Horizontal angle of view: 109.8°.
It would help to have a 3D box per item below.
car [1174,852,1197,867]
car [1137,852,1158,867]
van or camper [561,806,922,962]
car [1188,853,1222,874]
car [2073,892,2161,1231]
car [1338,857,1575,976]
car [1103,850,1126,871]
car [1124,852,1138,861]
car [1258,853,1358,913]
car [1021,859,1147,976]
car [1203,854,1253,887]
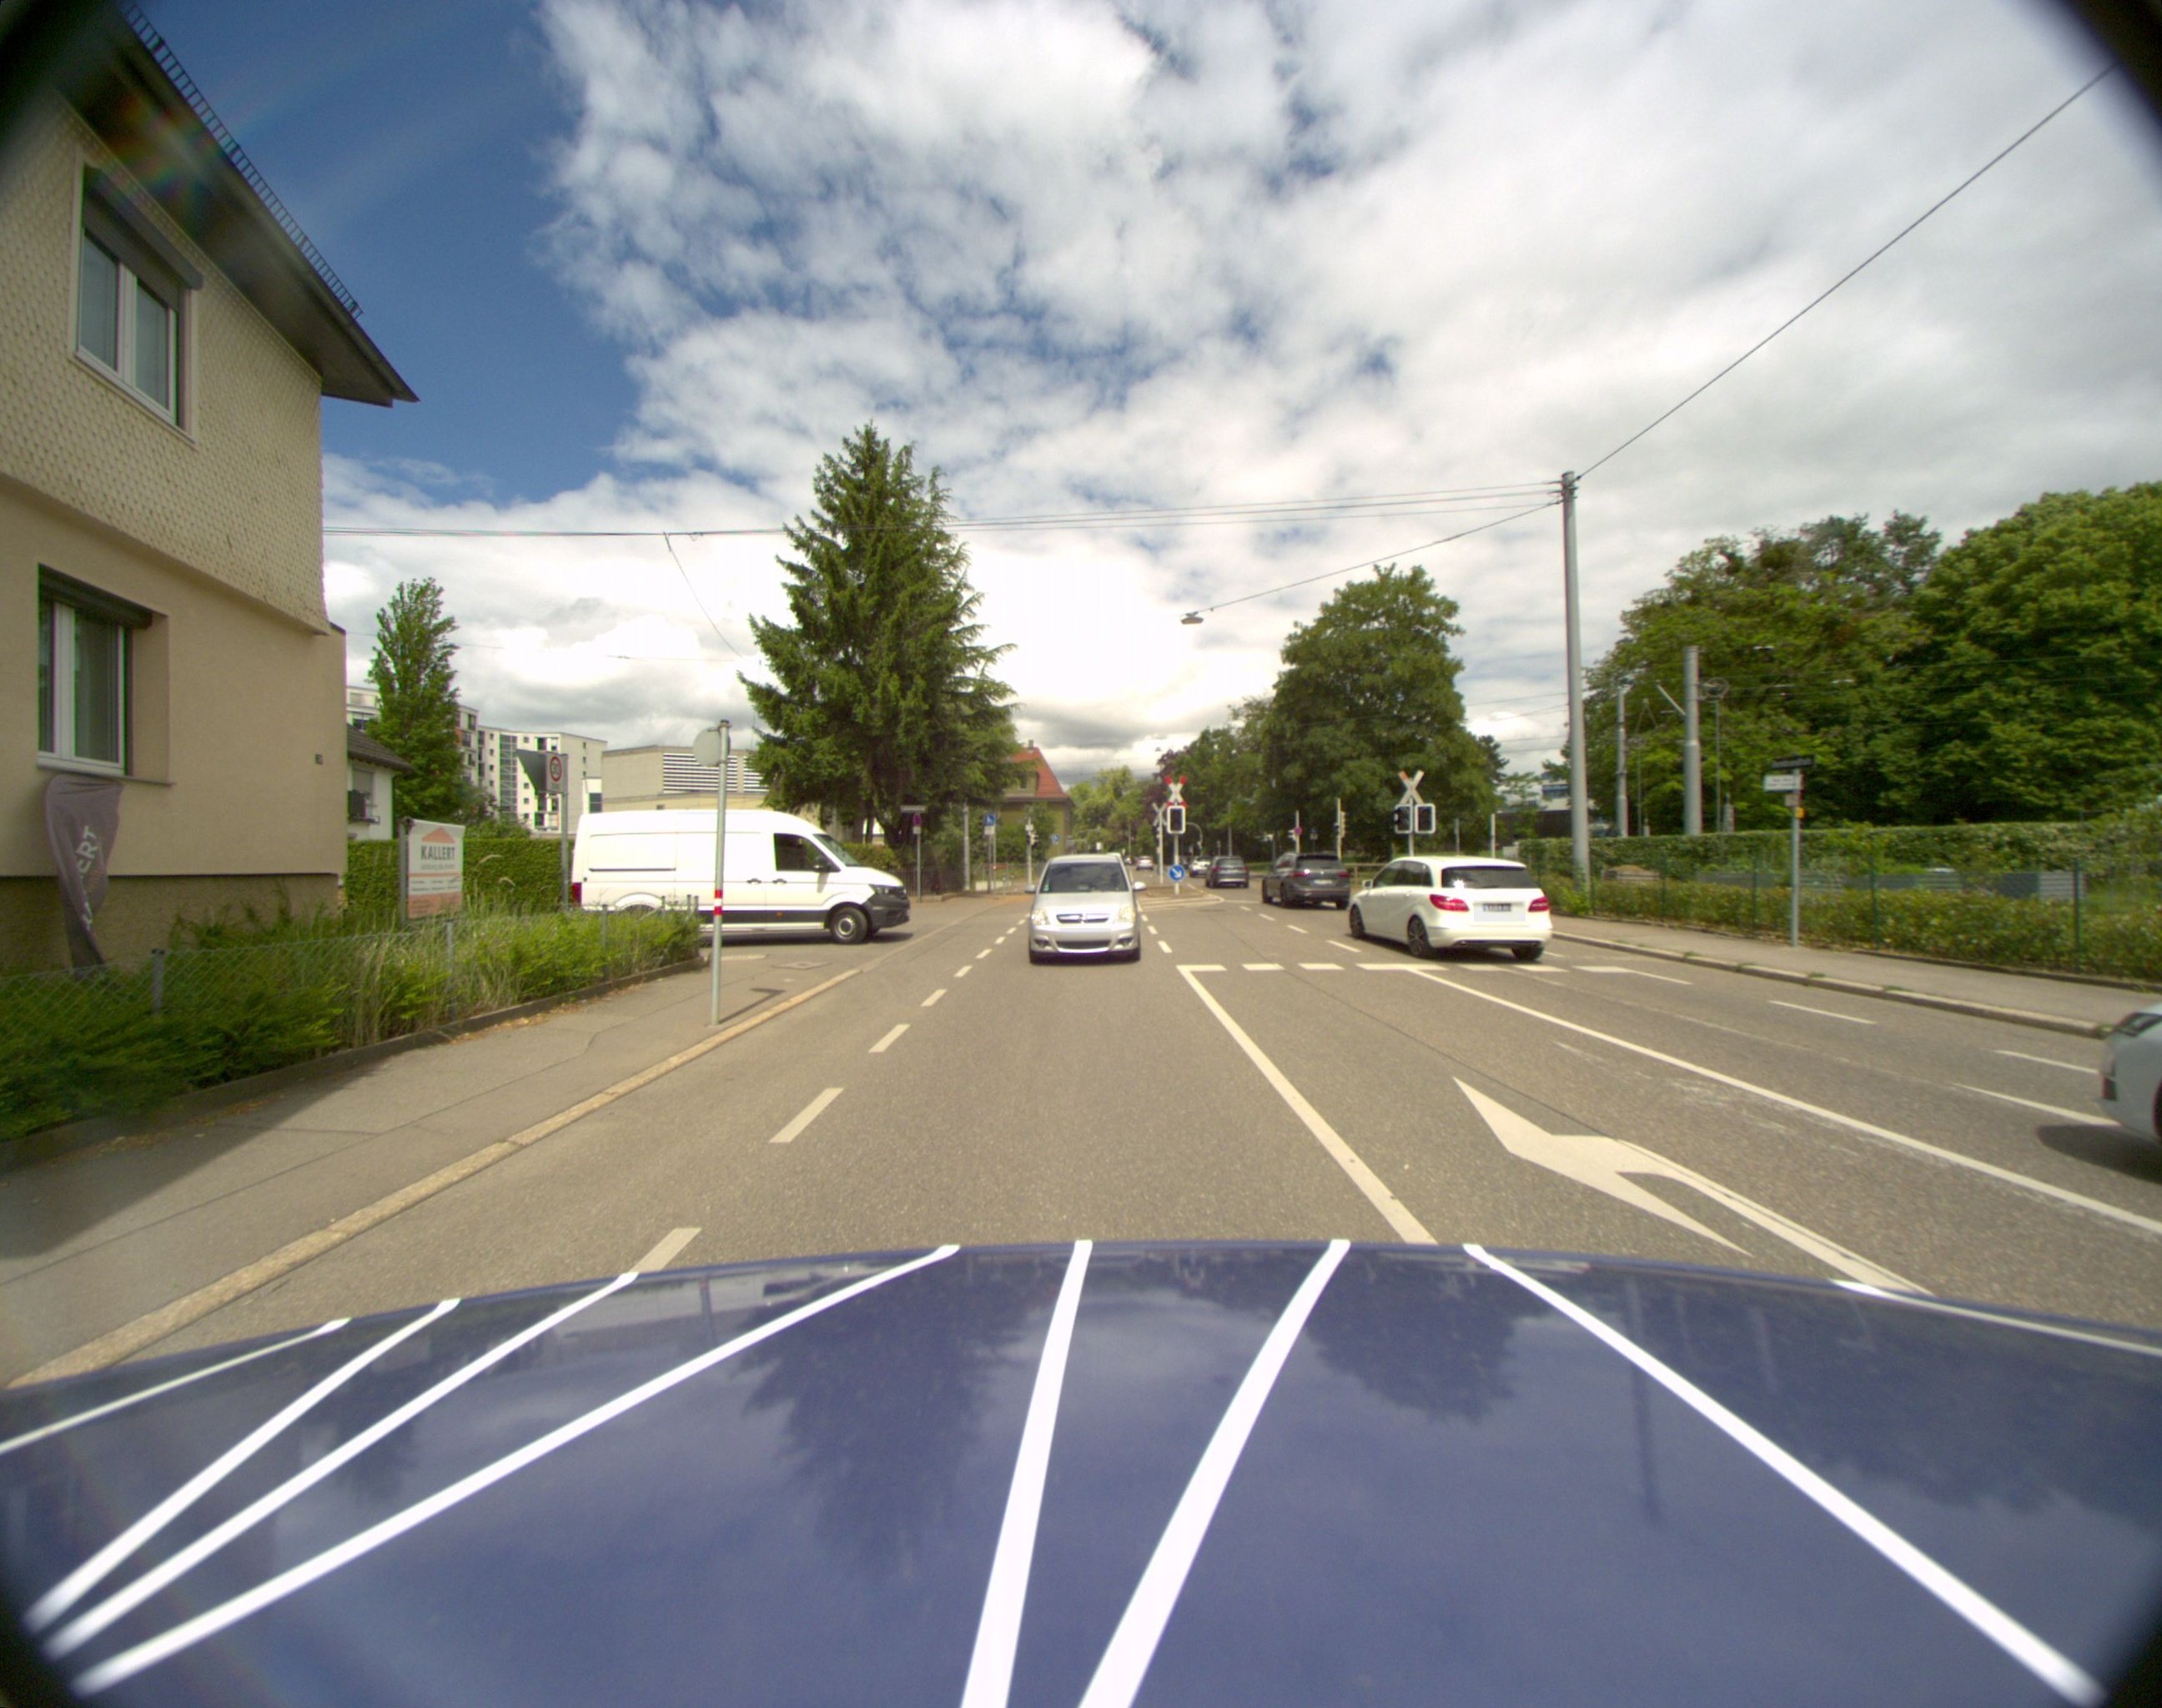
[{"bbox_3d":[10.485,0.577,76.490,1.933,1.412,4.000,-2,0,3],"label":"car"},{"bbox_3d":[6.936,0.576,79.410,1.933,1.412,4.000,-2,0,3],"label":"car"},{"bbox_3d":[-6.212,0.520,14.603,5.921,2.565,2.030,-2,-1,-6],"label":"van or camper"},{"bbox_3d":[8.894,0.657,54.624,1.933,1.412,4.000,-2,0,3],"label":"car"},{"bbox_3d":[5.648,0.926,1.387,1.881,1.467,4.442,0,0,1],"label":"car"},{"bbox_3d":[5.824,0.859,12.444,1.852,1.565,4.159,-1,0,1],"label":"car"},{"bbox_3d":[2.909,0.567,67.129,1.933,1.771,4.000,-2,0,1],"label":"car"},{"bbox_3d":[7.599,0.360,115.810,1.933,1.412,4.000,-2,0,3],"label":"car"},{"bbox_3d":[6.640,0.786,22.672,1.801,1.583,4.000,-2,0,1],"label":"car"},{"bbox_3d":[0.067,0.908,12.761,1.708,1.531,4.330,-2,0,1],"label":"car"},{"bbox_3d":[7.249,0.777,37.832,1.785,1.576,4.000,-1,0,1],"label":"car"}]
